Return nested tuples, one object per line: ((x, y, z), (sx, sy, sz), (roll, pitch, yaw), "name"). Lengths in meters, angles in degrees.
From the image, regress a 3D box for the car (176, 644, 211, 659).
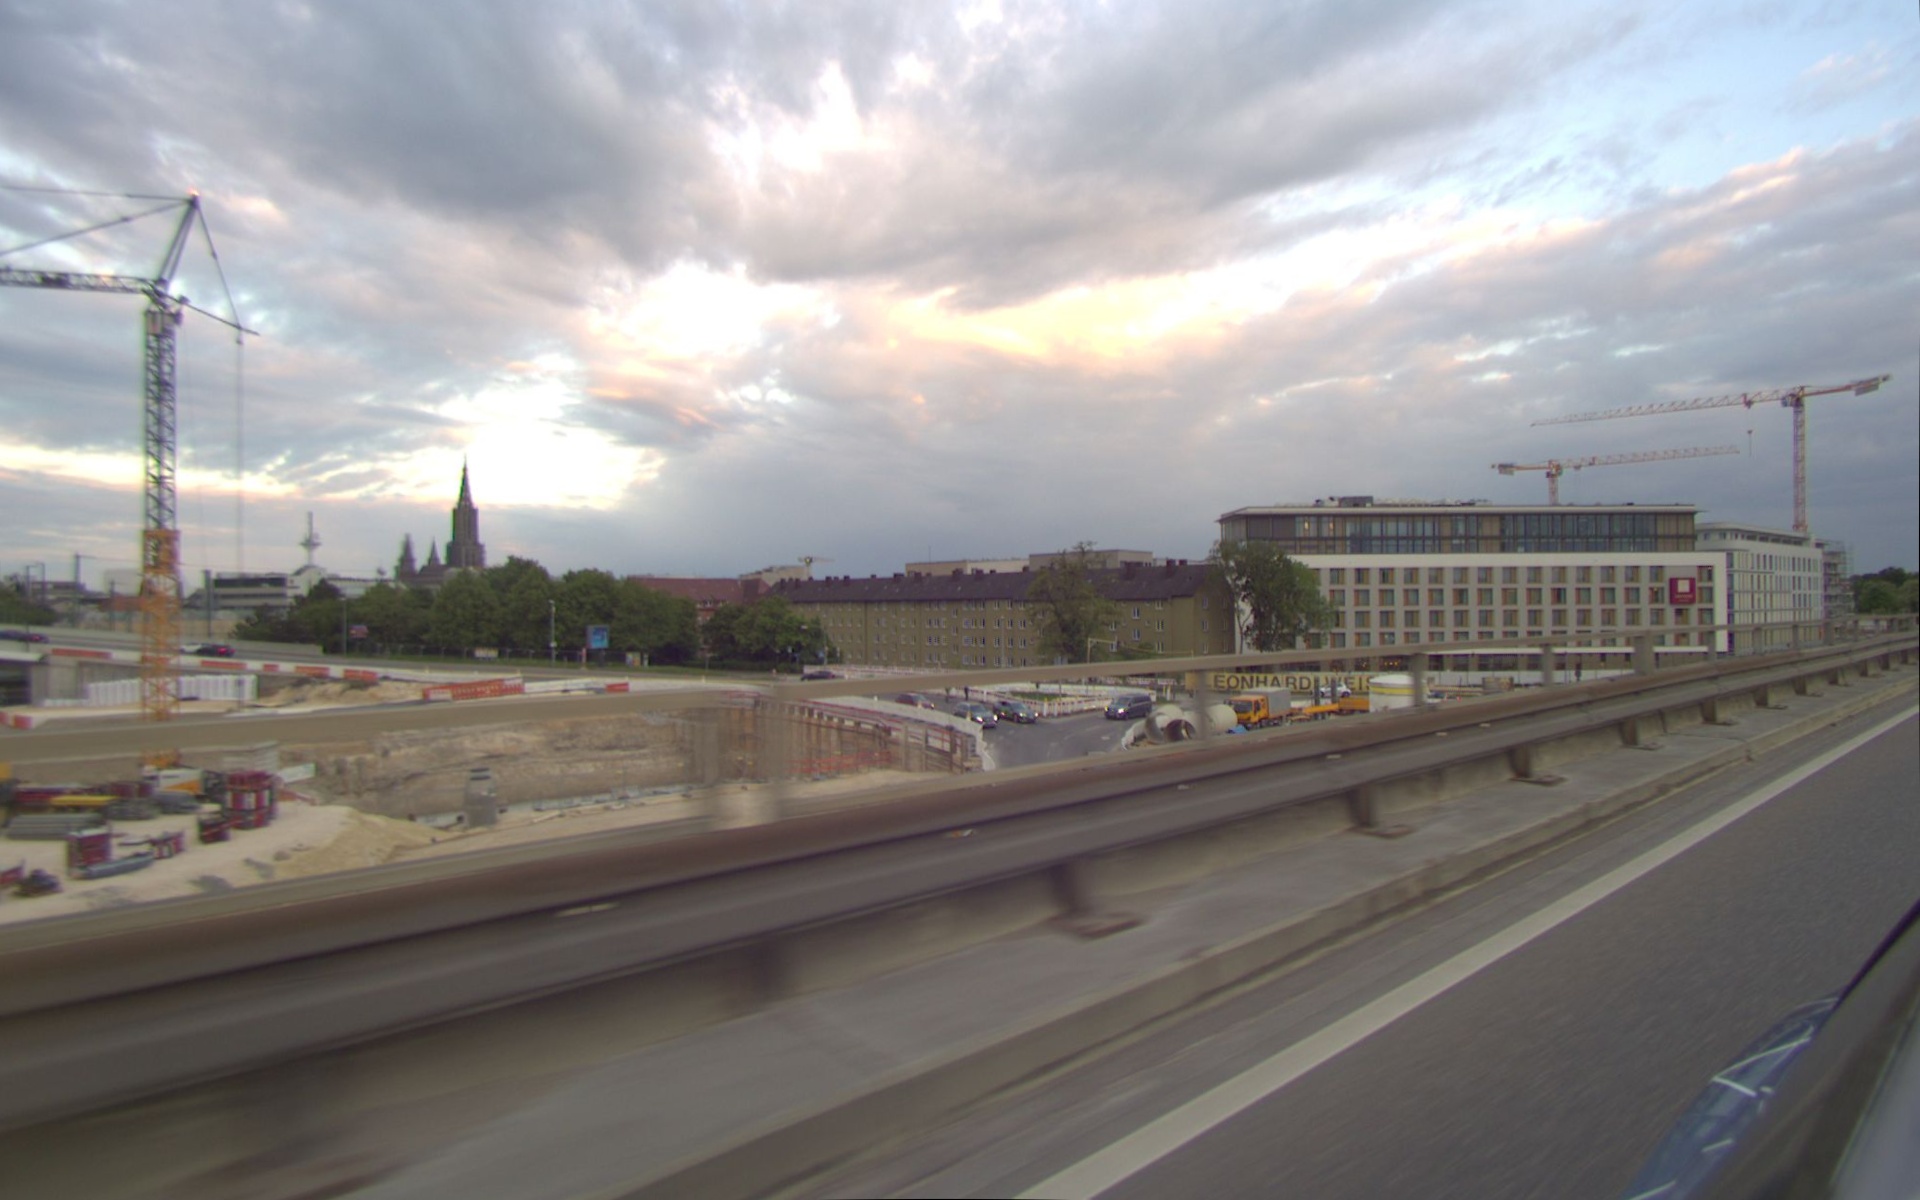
((-99.143, 6.656, 130.898), (3.648, 1.762, 1.588), (2, -4, 12), "car")

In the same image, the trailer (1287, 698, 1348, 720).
((29.234, 8.892, 82.721), (5.768, 1.366, 1.996), (1, -6, -40), "trailer")

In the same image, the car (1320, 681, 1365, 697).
((38.519, 8.959, 102.025), (3.937, 1.461, 1.906), (-1, -2, 11), "car")

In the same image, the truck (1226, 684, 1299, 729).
((23.399, 8.118, 78.060), (2.157, 2.987, 7.218), (-4, -4, 44), "truck")

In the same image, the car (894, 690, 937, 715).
((-3.741, 8.520, 84.354), (1.621, 1.639, 3.760), (0, 0, -42), "car")

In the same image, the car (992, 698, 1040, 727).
((4.418, 8.859, 80.071), (1.768, 1.741, 4.106), (-3, 1, -30), "car")

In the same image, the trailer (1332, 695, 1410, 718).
((34.394, 8.869, 84.775), (5.826, 1.365, 2.004), (0, 0, 32), "trailer")

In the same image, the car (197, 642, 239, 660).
((-93.393, 6.451, 127.357), (3.939, 2.040, 1.991), (2, -4, 12), "car")

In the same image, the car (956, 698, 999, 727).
((1.307, 8.446, 76.213), (1.612, 1.761, 3.799), (-1, -1, -26), "car")
